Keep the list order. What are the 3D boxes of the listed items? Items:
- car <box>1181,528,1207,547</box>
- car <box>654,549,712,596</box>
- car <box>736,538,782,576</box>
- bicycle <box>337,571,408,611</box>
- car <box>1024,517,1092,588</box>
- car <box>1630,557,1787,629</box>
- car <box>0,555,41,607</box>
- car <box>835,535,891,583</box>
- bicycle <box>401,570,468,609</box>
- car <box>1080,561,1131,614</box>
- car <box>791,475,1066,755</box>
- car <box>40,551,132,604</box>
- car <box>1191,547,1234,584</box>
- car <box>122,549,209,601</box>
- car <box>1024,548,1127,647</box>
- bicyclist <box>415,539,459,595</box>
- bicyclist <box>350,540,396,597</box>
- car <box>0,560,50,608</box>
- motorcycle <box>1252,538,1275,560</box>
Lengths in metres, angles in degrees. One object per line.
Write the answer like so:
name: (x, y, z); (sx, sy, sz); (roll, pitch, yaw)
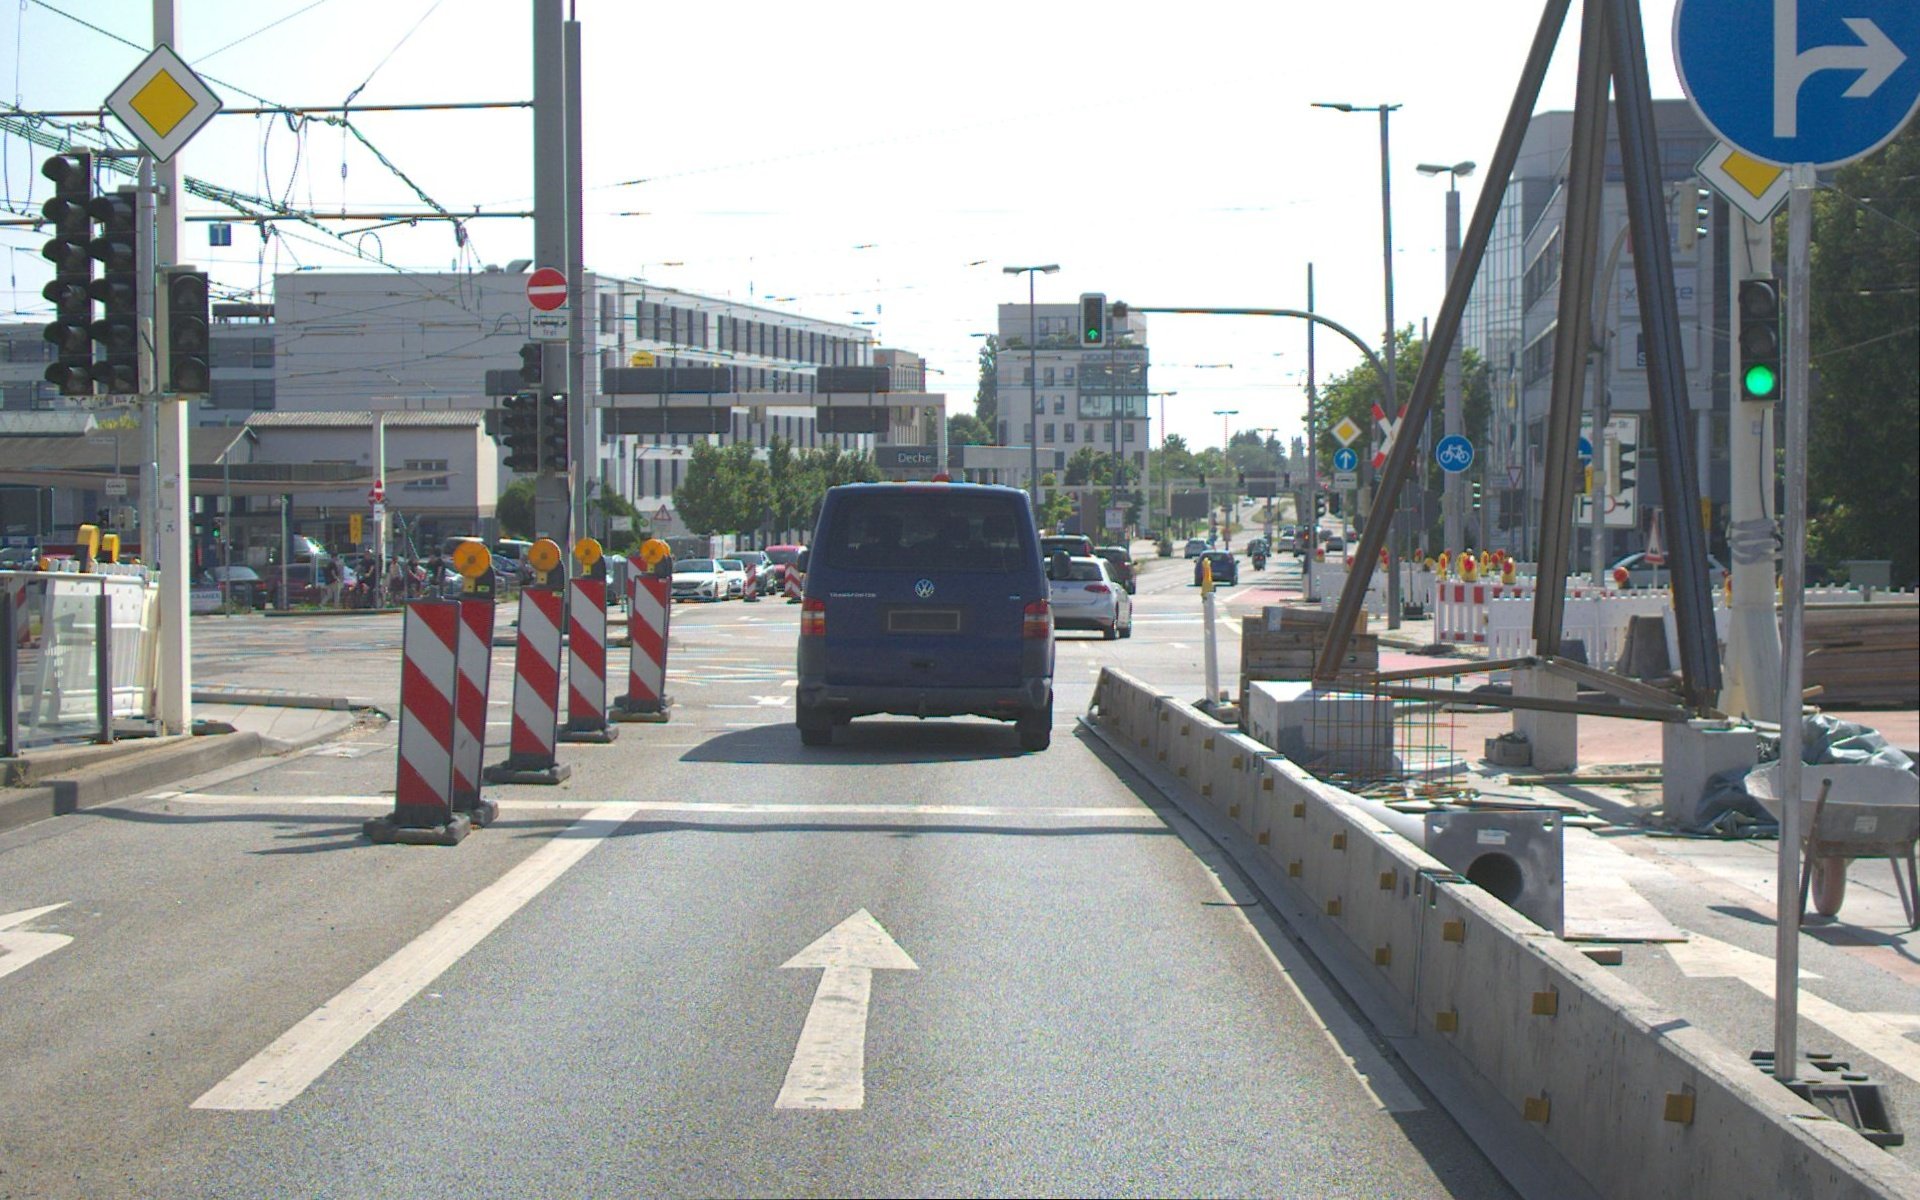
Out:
car: (16.750, -4.499, 245.945); (1.547, 1.335, 3.016); (1, 1, -2)
car: (-9.109, -0.907, 113.340); (1.747, 1.476, 4.001); (0, 1, -2)
car: (-7.958, -1.722, 136.594); (1.747, 1.481, 4.001); (0, 1, -2)
bicycle: (-16.988, -0.264, 99.480); (0.882, 1.065, 2.805); (4, 1, 14)
car: (2.496, -1.232, 87.963); (1.645, 1.722, 4.000); (2, 2, 1)
car: (20.196, -0.200, 92.871); (3.813, 1.791, 1.681); (1, 2, -1)
car: (-29.708, -0.589, 105.748); (1.777, 1.532, 4.000); (0, 1, 0)
car: (-3.147, -1.342, 111.457); (1.747, 1.525, 4.001); (0, 1, -2)
bicycle: (-15.465, -0.316, 101.311); (0.882, 1.065, 2.805); (4, 1, 14)
car: (5.116, -0.460, 121.055); (1.645, 1.722, 3.717); (2, 2, 1)
car: (-0.165, 0.034, 26.342); (1.888, 1.927, 4.000); (2, 2, 2)
car: (-26.788, -0.704, 105.468); (1.777, 1.532, 4.000); (-2, 1, 0)
car: (10.579, -1.451, 143.655); (1.744, 1.470, 3.884); (1, 1, 5)
car: (-24.680, -0.783, 106.942); (1.777, 1.532, 4.000); (1, 1, 0)
car: (2.032, -0.073, 61.373); (1.684, 1.600, 3.617); (2, 2, 0)
bicyclist: (-15.405, -0.970, 101.323); (0.876, 1.573, 0.969); (4, 1, 14)
bicyclist: (-16.966, -0.916, 99.355); (0.876, 1.573, 0.969); (4, 1, 14)
car: (-31.863, -0.544, 114.966); (1.777, 1.532, 4.000); (0, 1, 0)
motorcycle: (16.854, -2.844, 191.044); (1.162, 1.238, 3.007); (1, 1, 7)
